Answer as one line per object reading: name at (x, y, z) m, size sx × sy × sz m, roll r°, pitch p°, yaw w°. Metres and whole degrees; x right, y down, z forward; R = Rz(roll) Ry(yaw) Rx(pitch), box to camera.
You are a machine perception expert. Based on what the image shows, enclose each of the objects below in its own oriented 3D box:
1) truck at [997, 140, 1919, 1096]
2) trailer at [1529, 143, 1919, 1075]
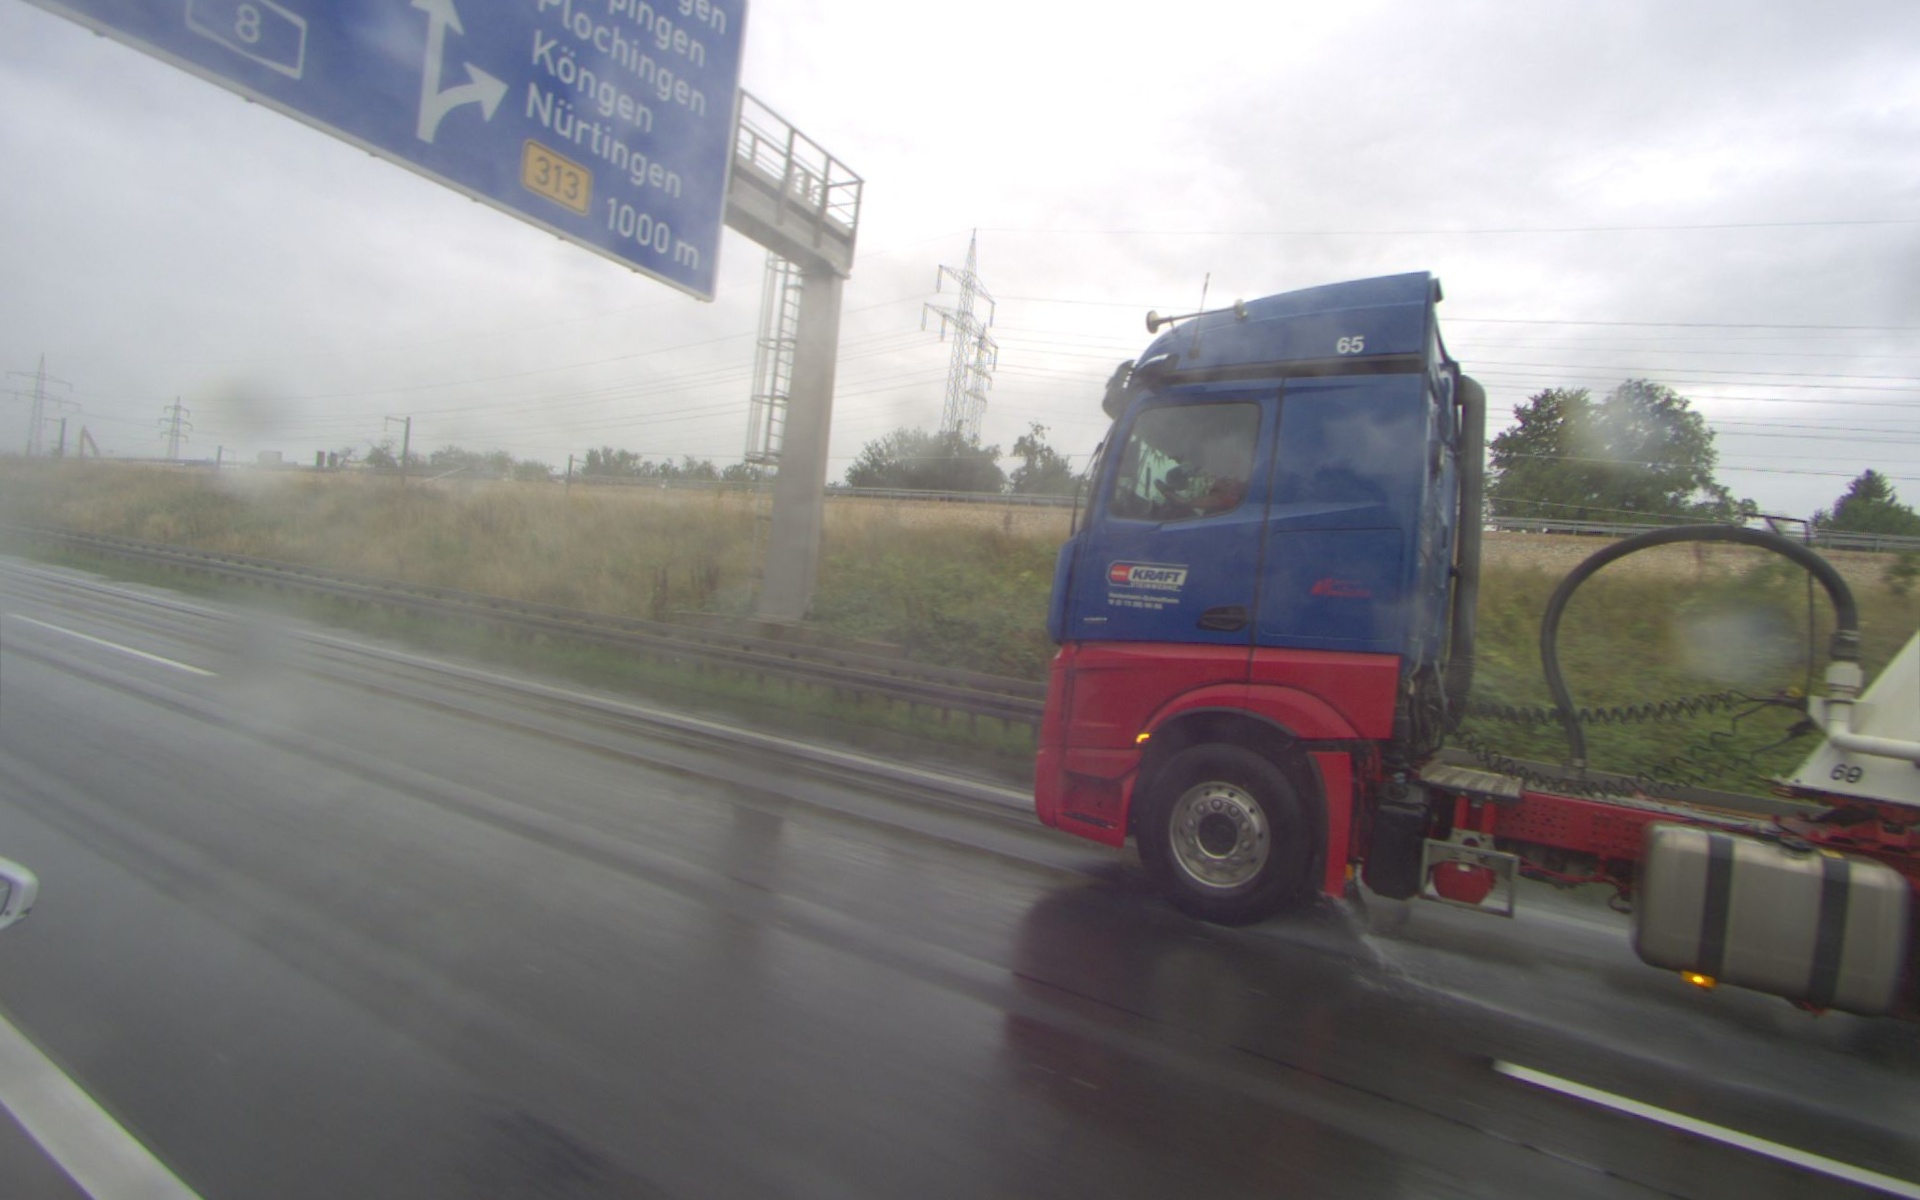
truck at (3.254, -0.043, 6.206) m, size 4.990 × 4.030 × 2.502 m, roll 8°, pitch -1°, yaw 31°
trailer at (8.260, 0.590, 3.131) m, size 10.881 × 3.928 × 2.502 m, roll 8°, pitch -1°, yaw 31°
